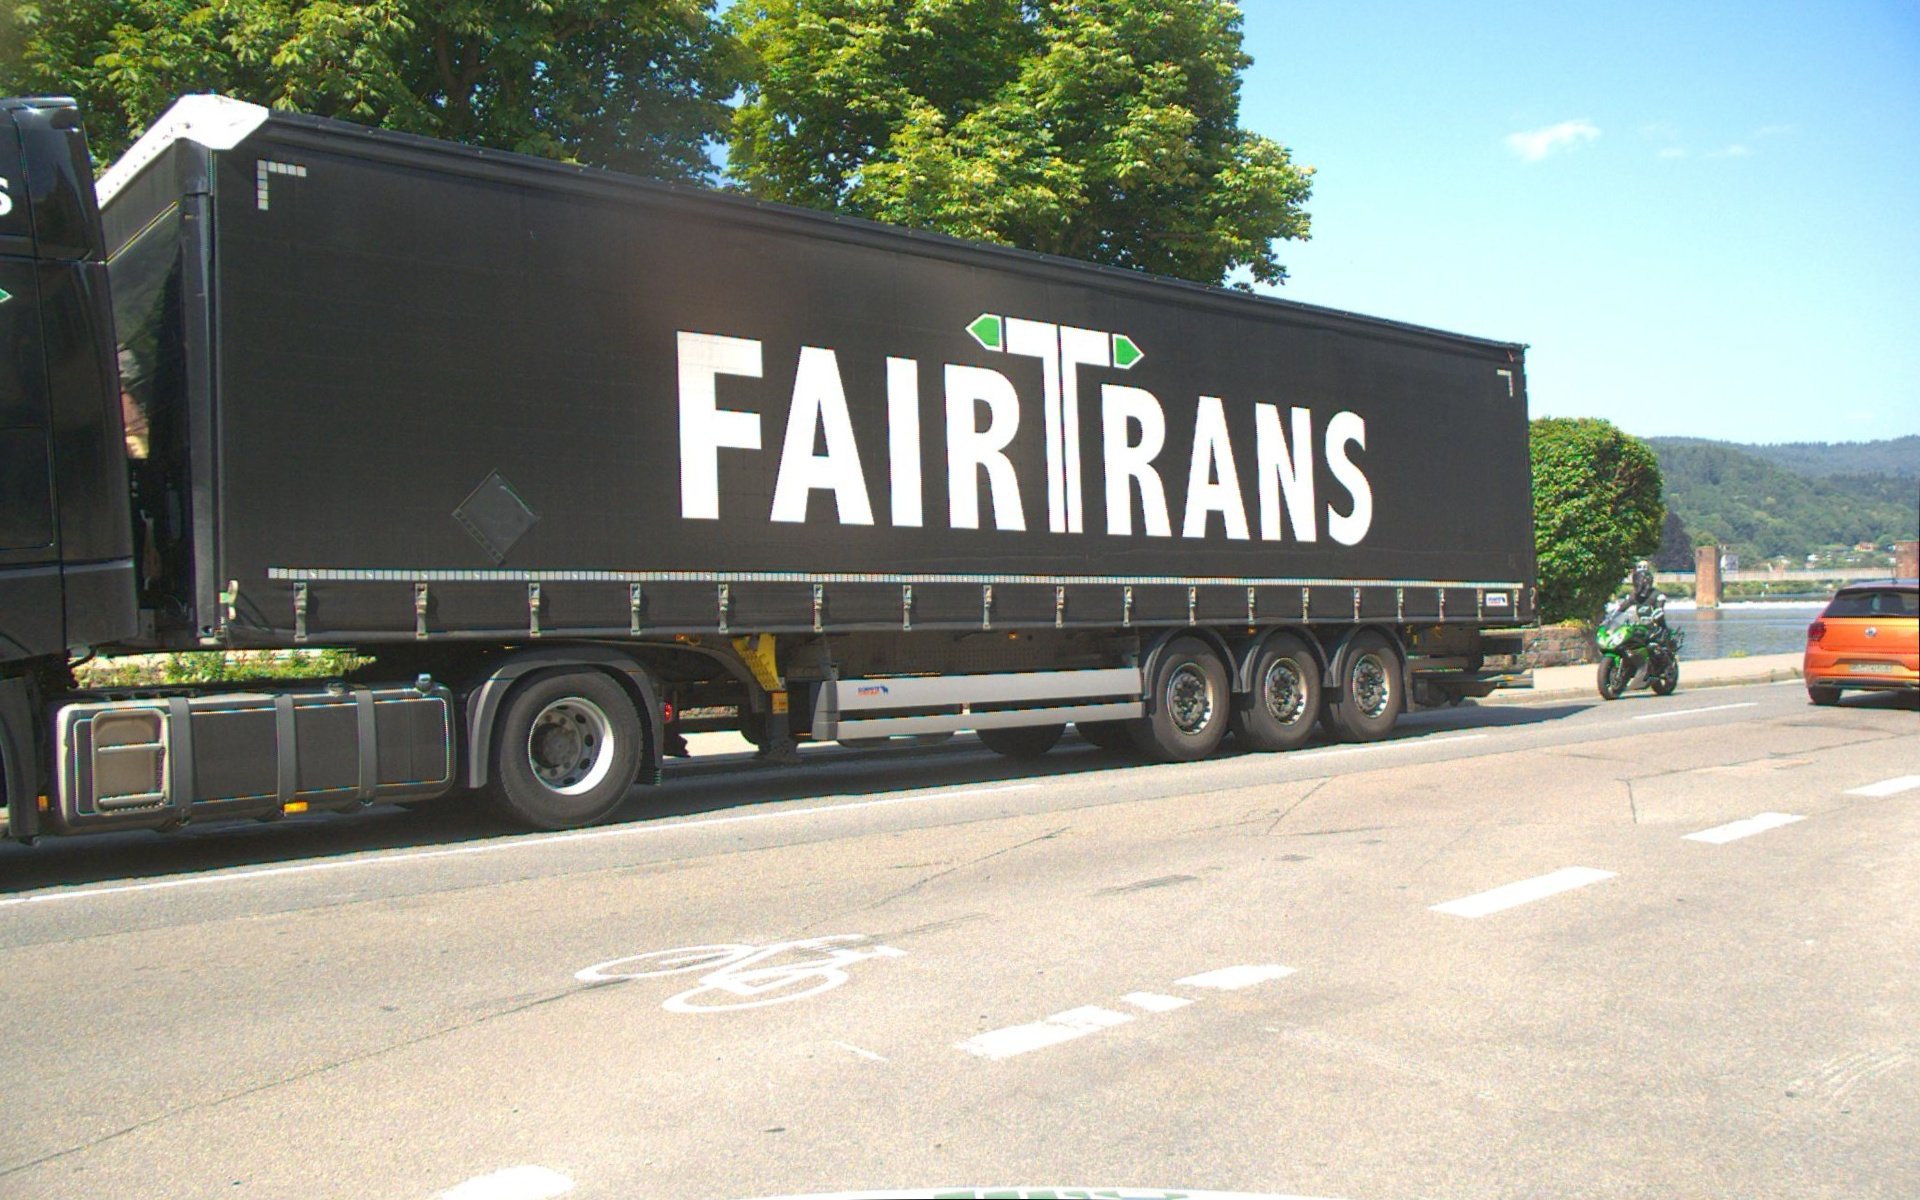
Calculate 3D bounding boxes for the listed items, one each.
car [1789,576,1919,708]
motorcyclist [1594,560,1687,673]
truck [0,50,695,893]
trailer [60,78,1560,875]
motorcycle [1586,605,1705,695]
[{"bbox_3d":[11.622,0.441,19.703,3.980,1.430,1.705,-1,0,-40],"label":"car"},{"bbox_3d":[9.269,0.228,22.521,0.983,1.486,0.769,-1,-2,-41],"label":"motorcyclist"},{"bbox_3d":[-4.879,-0.603,9.782,5.878,4.143,2.798,-1,-2,-40],"label":"truck"},{"bbox_3d":[0.221,-0.704,14.175,13.646,4.176,2.800,-1,-2,-41],"label":"trailer"},{"bbox_3d":[9.335,0.670,22.496,2.075,1.143,0.625,-1,-2,-42],"label":"motorcycle"}]
